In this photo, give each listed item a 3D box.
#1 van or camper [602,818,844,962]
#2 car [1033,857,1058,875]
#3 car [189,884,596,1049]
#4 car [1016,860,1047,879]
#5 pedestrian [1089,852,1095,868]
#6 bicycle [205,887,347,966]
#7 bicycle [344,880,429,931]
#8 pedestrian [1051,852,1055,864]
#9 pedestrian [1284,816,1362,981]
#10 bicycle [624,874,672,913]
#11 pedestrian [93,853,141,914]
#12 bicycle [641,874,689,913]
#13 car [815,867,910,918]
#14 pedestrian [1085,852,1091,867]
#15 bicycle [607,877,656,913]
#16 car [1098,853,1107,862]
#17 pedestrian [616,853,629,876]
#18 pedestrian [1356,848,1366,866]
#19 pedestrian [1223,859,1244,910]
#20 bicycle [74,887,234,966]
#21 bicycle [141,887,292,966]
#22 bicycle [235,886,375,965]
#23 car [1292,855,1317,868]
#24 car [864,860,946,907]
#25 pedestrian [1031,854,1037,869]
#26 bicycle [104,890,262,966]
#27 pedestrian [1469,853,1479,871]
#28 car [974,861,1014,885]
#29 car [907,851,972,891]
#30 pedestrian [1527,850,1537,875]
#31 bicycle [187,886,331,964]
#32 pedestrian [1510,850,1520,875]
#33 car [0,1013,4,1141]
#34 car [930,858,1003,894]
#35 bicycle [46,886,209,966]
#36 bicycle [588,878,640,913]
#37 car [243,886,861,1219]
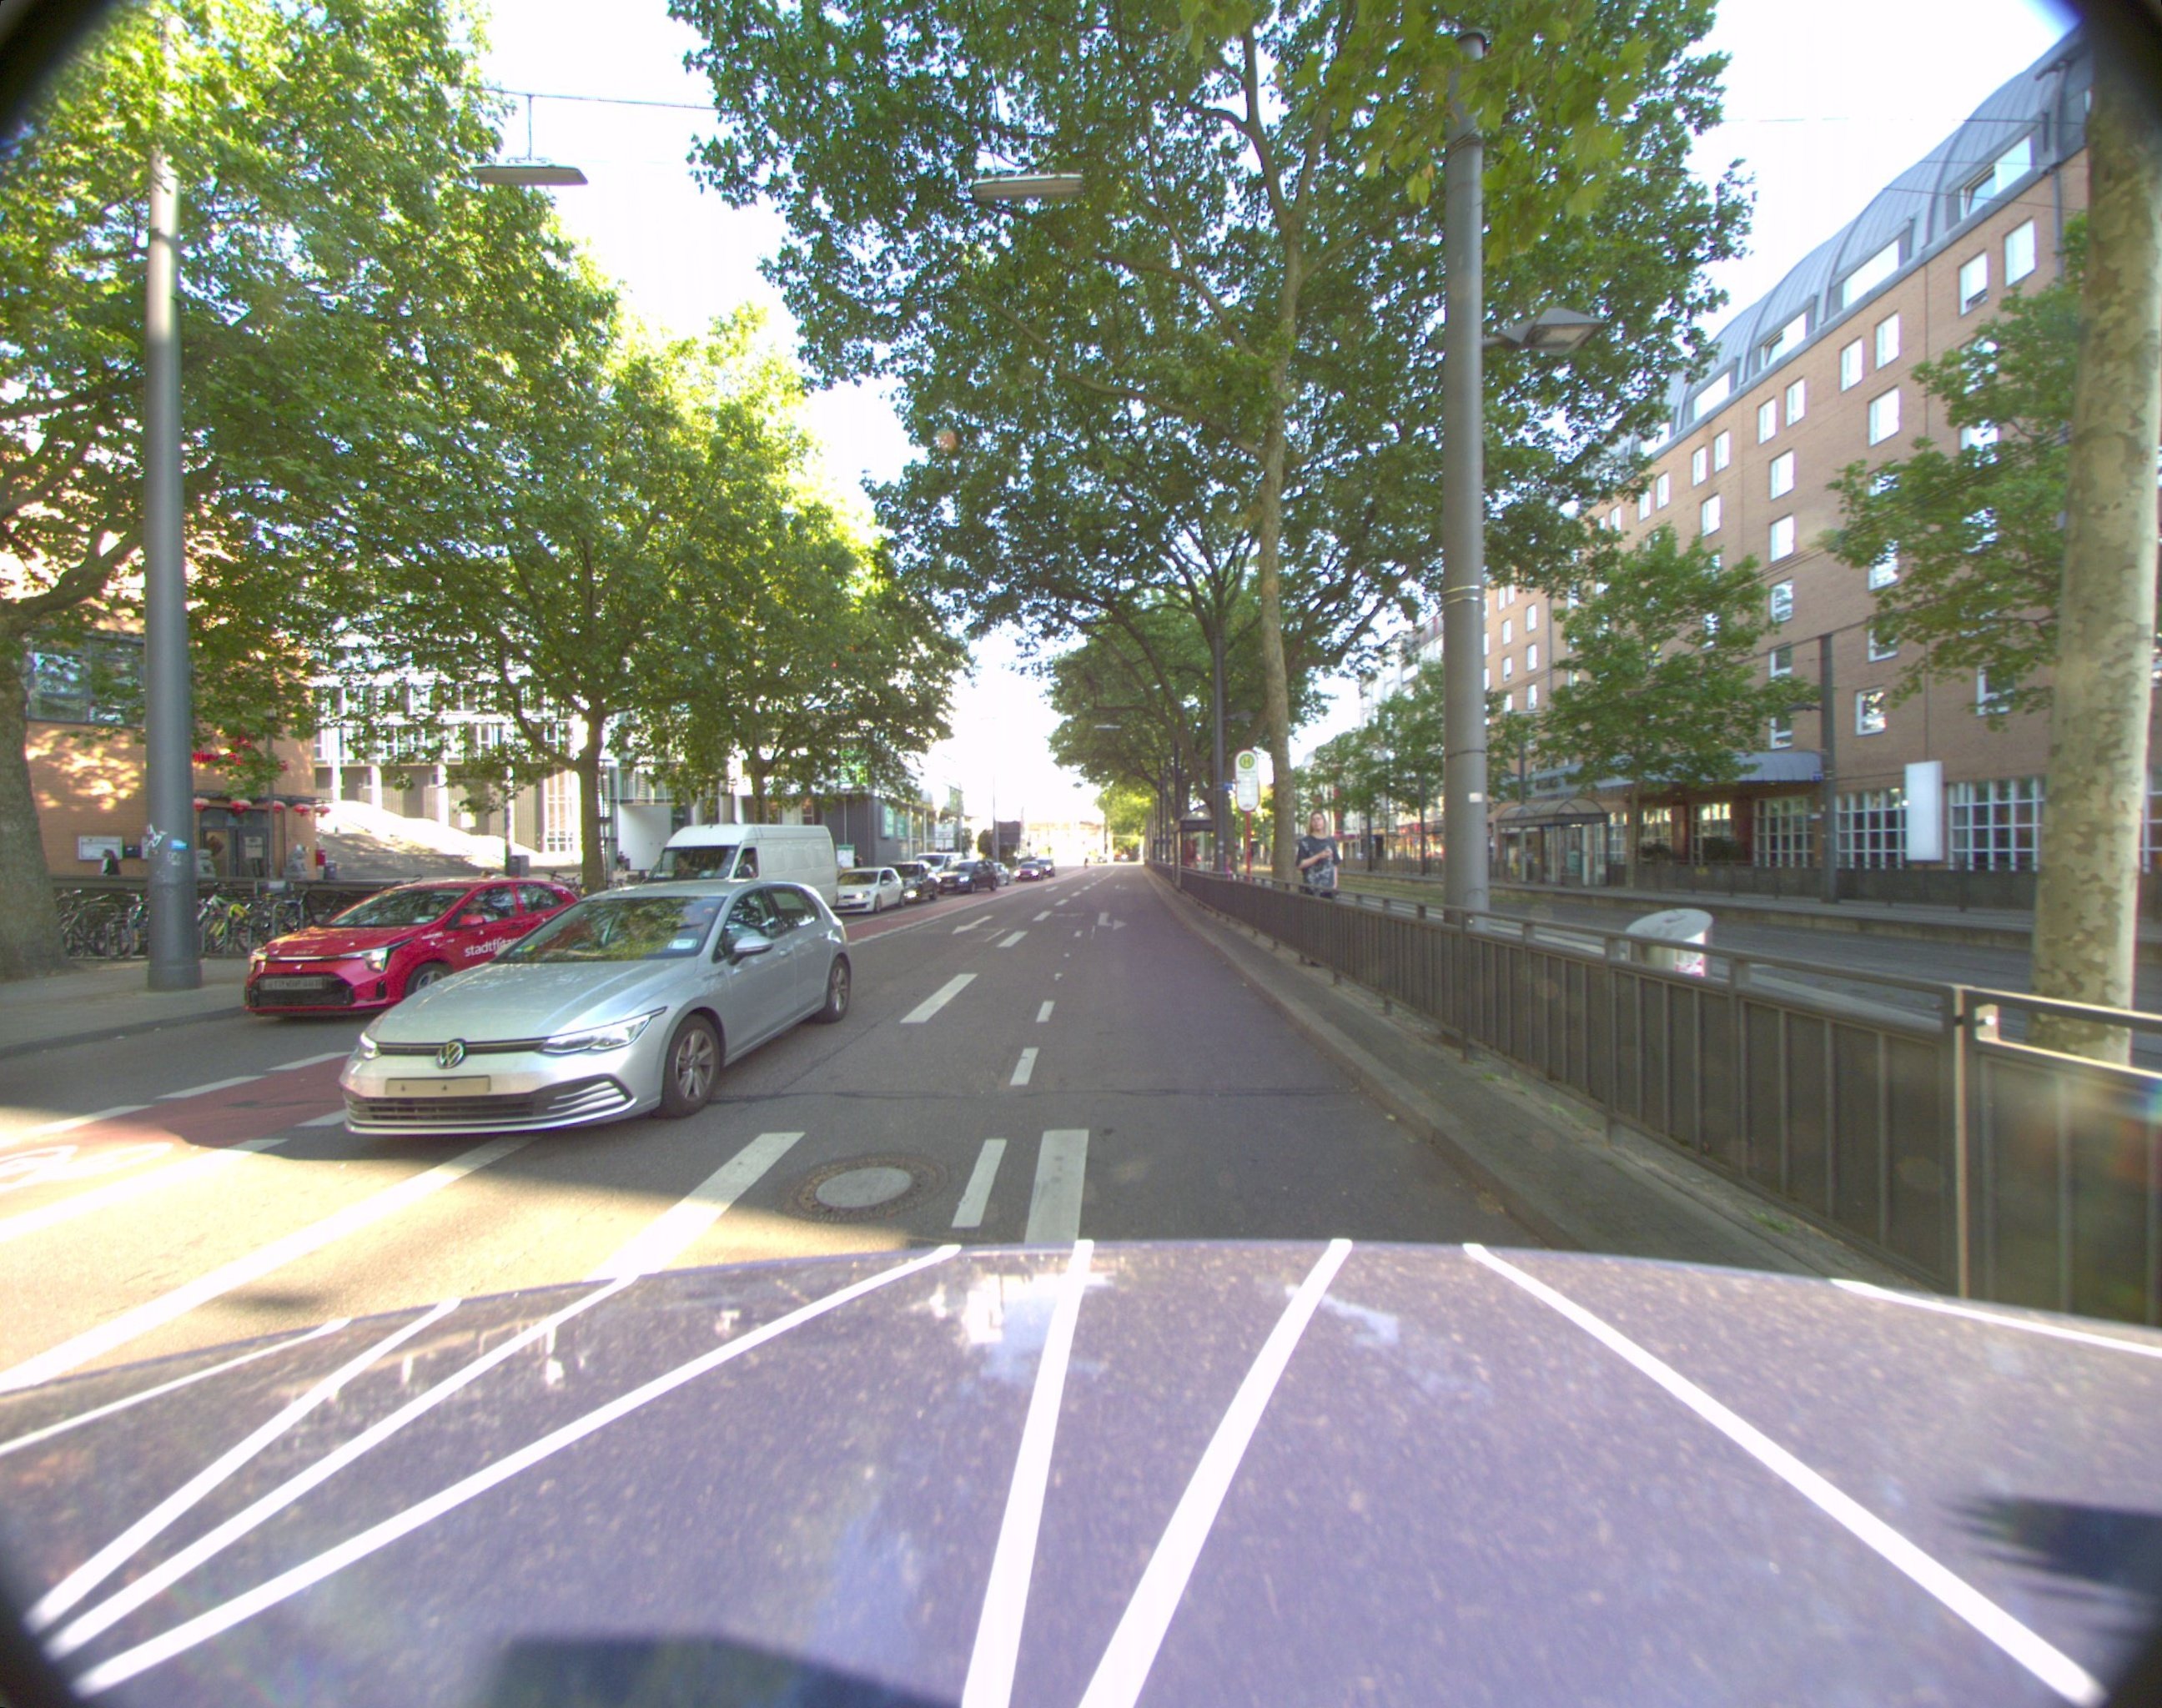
[{"bbox_3d":[-7.555,0.650,17.133,1.998,2.563,6.575,-2,0,3],"label":"van or camper"},{"bbox_3d":[-3.053,1.048,66.440,1.801,1.438,4.001,0,0,3],"label":"car"},{"bbox_3d":[-7.950,1.179,9.313,1.606,1.449,3.651,-1,0,0],"label":"car"},{"bbox_3d":[-3.702,1.160,57.378,1.801,1.369,4.001,0,0,3],"label":"car"},{"bbox_3d":[1.470,0.790,101.483,0.773,2.002,0.830,-2,1,3],"label":"pedestrian"},{"bbox_3d":[-13.816,1.204,13.128,0.448,1.187,1.850,0,0,1],"label":"bicycle"},{"bbox_3d":[-17.861,1.286,19.586,0.517,1.187,1.790,0,0,1],"label":"bicycle"},{"bbox_3d":[-3.913,0.594,106.392,0.611,1.644,0.583,-1,1,1],"label":"pedestrian"},{"bbox_3d":[2.873,0.502,9.046,0.607,1.873,0.621,-3,3,-27],"label":"pedestrian"},{"bbox_3d":[-14.110,1.263,24.814,0.495,1.187,1.850,0,0,1],"label":"bicycle"},{"bbox_3d":[-32.256,0.987,25.434,0.875,2.025,0.586,0,1,6],"label":"pedestrian"},{"bbox_3d":[-13.567,1.268,24.835,0.522,1.187,1.850,0,0,1],"label":"bicycle"},{"bbox_3d":[-7.020,1.195,24.832,1.682,1.420,4.001,-1,0,3],"label":"car"},{"bbox_3d":[0.955,0.777,103.133,0.773,2.002,0.830,-2,1,3],"label":"pedestrian"},{"bbox_3d":[-14.654,1.317,24.813,0.522,1.088,1.797,0,0,1],"label":"bicycle"},{"bbox_3d":[4.781,0.840,168.819,1.998,2.002,4.000,-1,0,1],"label":"car"},{"bbox_3d":[-31.103,0.685,51.517,0.719,1.549,0.639,-1,1,-35],"label":"pedestrian"},{"bbox_3d":[31.034,0.296,84.309,0.806,2.002,0.763,-1,1,1],"label":"pedestrian"},{"bbox_3d":[3.937,0.778,19.616,0.500,1.308,0.419,0,1,9],"label":"pedestrian"},{"bbox_3d":[-15.920,1.203,13.130,0.458,1.187,1.850,0,0,1],"label":"bicycle"},{"bbox_3d":[-14.838,1.199,13.119,0.447,1.187,1.850,0,0,1],"label":"bicycle"},{"bbox_3d":[-13.314,1.193,13.123,0.482,1.187,1.850,0,0,1],"label":"bicycle"},{"bbox_3d":[26.201,0.883,89.145,1.760,1.479,4.309,-1,0,2],"label":"car"},{"bbox_3d":[-6.755,1.086,29.635,1.818,1.610,4.229,-1,0,5],"label":"car"},{"bbox_3d":[-5.304,0.848,85.544,0.648,1.644,0.643,-1,1,1],"label":"pedestrian"},{"bbox_3d":[-15.421,1.236,13.128,0.485,1.118,1.850,0,0,1],"label":"bicycle"},{"bbox_3d":[31.034,0.652,60.004,0.519,1.427,0.516,0,1,4],"label":"pedestrian"},{"bbox_3d":[-5.484,1.167,48.373,1.801,1.369,4.001,0,0,3],"label":"car"},{"bbox_3d":[-7.463,0.844,40.500,1.965,1.983,4.960,-1,0,7],"label":"car"},{"bbox_3d":[27.388,0.532,46.124,0.438,1.511,0.659,0,1,23],"label":"pedestrian"},{"bbox_3d":[-14.322,1.200,13.319,0.484,1.187,1.850,0,0,1],"label":"bicycle"},{"bbox_3d":[26.543,0.520,46.446,0.438,1.497,0.659,0,1,23],"label":"pedestrian"},{"bbox_3d":[-8.007,1.166,2.883,1.743,1.476,4.251,-1,0,0],"label":"car"},{"bbox_3d":[-5.497,1.015,37.052,1.964,1.610,4.335,-1,0,14],"label":"car"},{"bbox_3d":[-16.383,1.197,13.133,0.435,1.187,1.850,0,0,1],"label":"bicycle"},{"bbox_3d":[-15.215,1.339,24.788,0.516,1.027,1.850,0,0,1],"label":"bicycle"},{"bbox_3d":[-3.222,1.078,5.781,1.733,1.432,4.000,-2,0,2],"label":"car"}]
